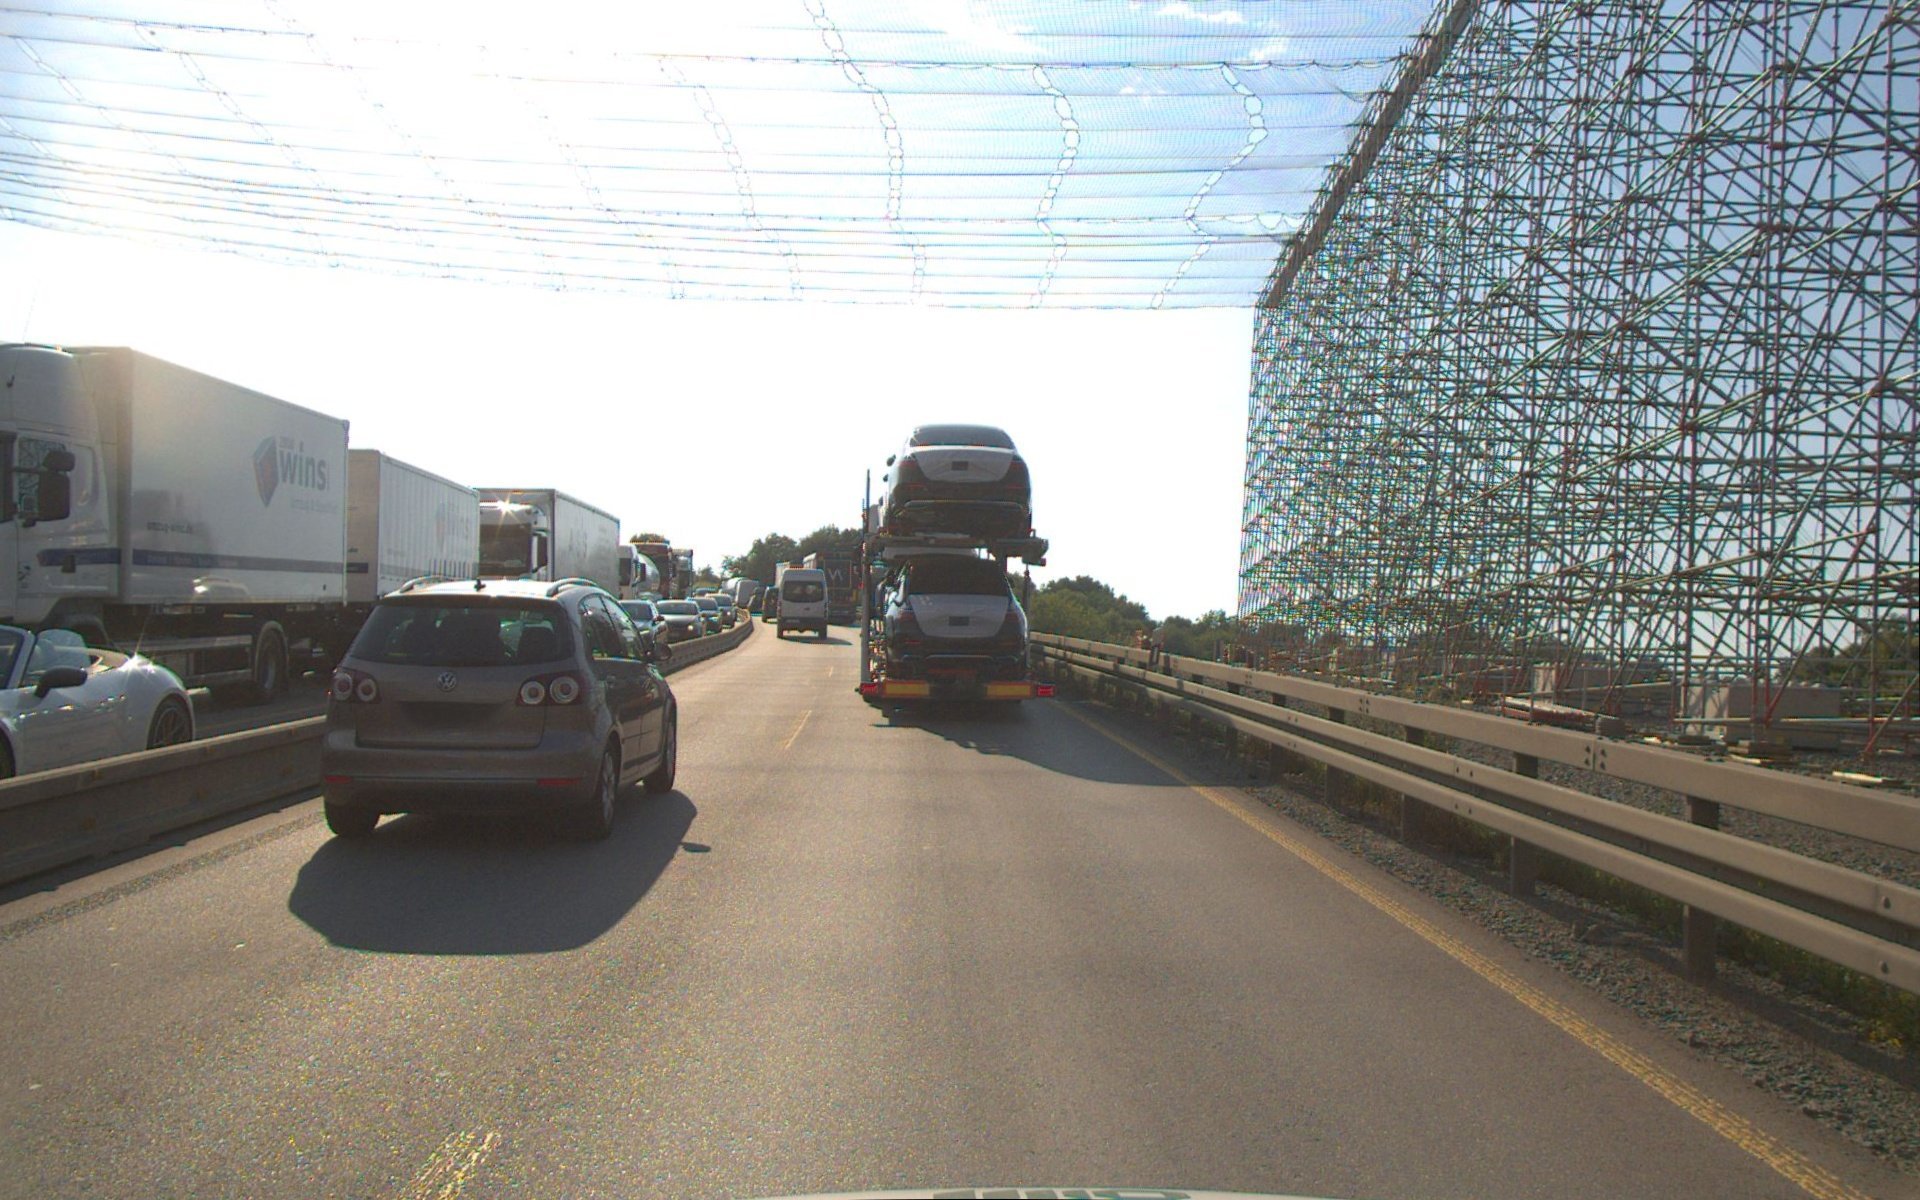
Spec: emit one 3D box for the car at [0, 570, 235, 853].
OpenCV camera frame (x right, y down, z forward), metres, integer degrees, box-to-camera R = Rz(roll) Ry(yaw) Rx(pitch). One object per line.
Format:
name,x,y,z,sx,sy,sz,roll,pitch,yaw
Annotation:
car,-6.377,0.619,10.561,1.772,1.595,4.362,1,0,-4

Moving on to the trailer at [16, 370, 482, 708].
trailer,-10.585,-0.714,26.855,2.617,4.086,13.322,1,0,-4

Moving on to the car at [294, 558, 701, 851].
car,-2.919,0.598,11.328,1.657,1.624,3.999,1,0,0

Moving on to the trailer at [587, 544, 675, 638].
trailer,-13.191,-0.300,67.140,2.262,3.420,12.038,1,0,-5

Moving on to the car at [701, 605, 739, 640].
car,-11.498,1.053,79.304,1.718,1.614,3.936,1,0,-7

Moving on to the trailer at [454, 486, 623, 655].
trailer,-11.543,-0.678,46.719,2.380,4.032,14.082,1,0,-5

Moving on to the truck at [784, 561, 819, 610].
truck,-12.673,-1.131,131.641,2.483,3.712,8.891,1,0,-7

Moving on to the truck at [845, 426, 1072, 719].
truck,-0.302,-0.309,25.608,2.743,3.558,10.598,1,0,-3

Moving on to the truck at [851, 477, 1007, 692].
truck,-0.839,-0.264,35.007,2.781,3.858,9.980,1,0,-3

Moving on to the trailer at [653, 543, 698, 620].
trailer,-17.085,-1.043,99.869,2.430,4.404,10.489,1,0,-9

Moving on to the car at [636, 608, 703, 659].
car,-8.565,0.961,48.982,1.576,1.400,3.896,1,0,-5

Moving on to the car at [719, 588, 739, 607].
car,-23.202,-0.212,166.151,1.802,1.868,3.994,1,0,-7

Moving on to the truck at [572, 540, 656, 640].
truck,-12.625,-0.336,60.709,2.367,3.429,5.611,1,0,-6

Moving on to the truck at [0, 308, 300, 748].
truck,-9.971,-0.655,18.475,2.578,3.978,7.200,1,0,-3

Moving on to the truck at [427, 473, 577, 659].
truck,-10.888,-0.747,39.772,2.425,4.116,5.611,1,0,-5

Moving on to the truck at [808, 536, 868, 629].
truck,-7.512,-1.001,100.631,3.223,5.328,9.921,1,0,-6

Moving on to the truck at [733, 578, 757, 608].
truck,-24.030,-0.754,185.083,2.541,3.226,6.667,1,0,-6

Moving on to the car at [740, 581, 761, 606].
car,-17.642,-0.534,139.113,1.600,2.049,3.991,1,0,-10

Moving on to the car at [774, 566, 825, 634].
car,-6.350,0.009,65.382,1.884,2.536,5.401,1,0,-6

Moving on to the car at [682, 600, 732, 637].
car,-10.283,0.743,67.442,1.759,1.422,4.238,1,0,-6

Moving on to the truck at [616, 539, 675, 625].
truck,-14.688,-0.790,77.570,2.387,3.851,5.607,1,0,-8

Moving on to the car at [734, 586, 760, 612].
car,-15.420,-0.052,119.803,1.792,1.803,3.993,1,0,-8

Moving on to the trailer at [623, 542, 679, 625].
trailer,-15.512,-0.774,83.539,2.264,3.856,12.028,1,0,-8

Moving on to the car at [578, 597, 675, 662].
car,-8.095,0.700,40.540,1.742,1.475,4.659,1,0,-4

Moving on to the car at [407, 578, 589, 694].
car,-6.945,0.518,25.307,1.772,1.595,4.362,1,0,-4
